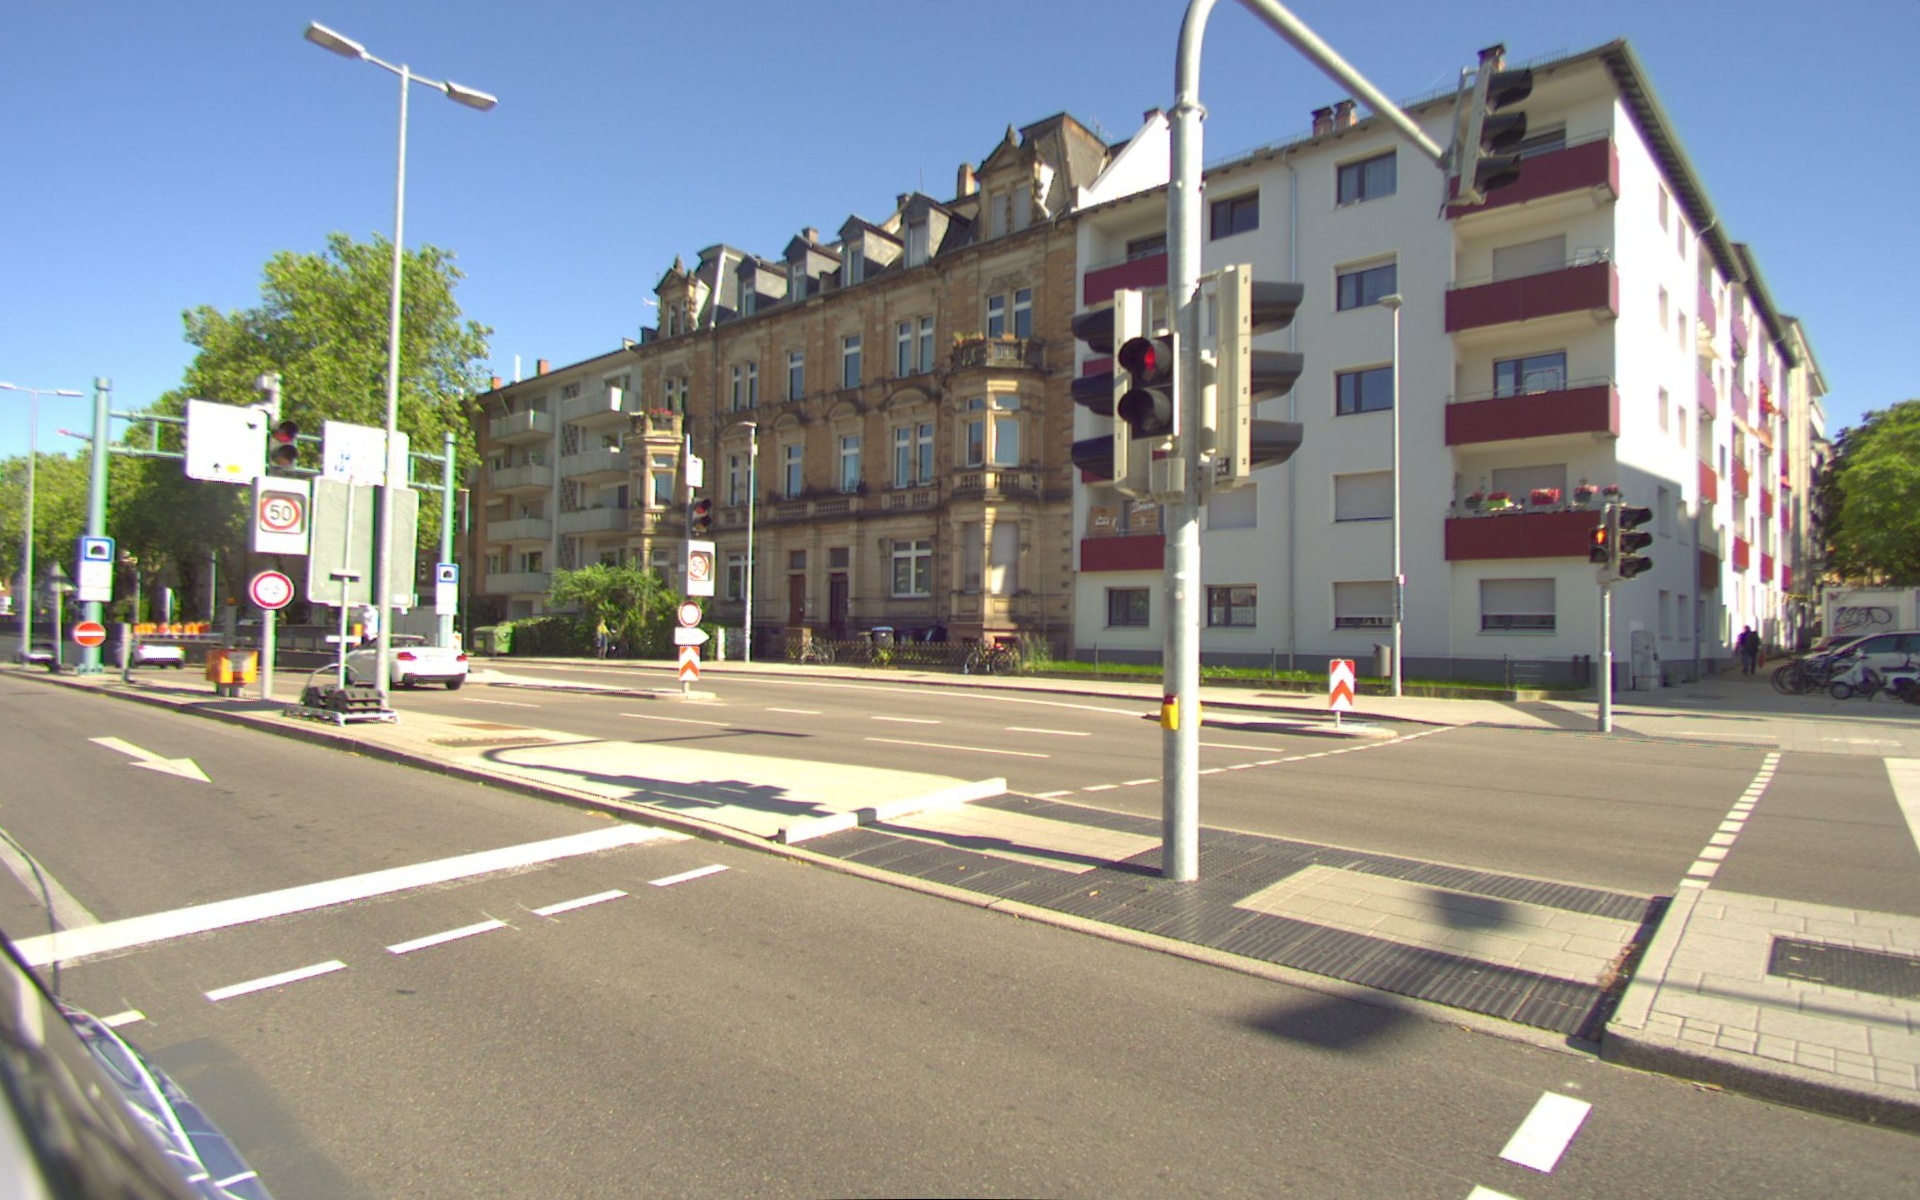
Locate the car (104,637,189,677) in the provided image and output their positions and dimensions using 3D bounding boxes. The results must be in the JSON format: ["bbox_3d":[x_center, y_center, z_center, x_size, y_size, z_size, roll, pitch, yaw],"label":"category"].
[{"bbox_3d":[-35.000,2.472,43.491,4.386,1.464,1.974,-5,-2,39],"label":"car"}]

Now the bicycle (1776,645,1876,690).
[{"bbox_3d":[20.352,1.573,23.818,0.567,0.976,1.737,2,-2,-45],"label":"bicycle"}]

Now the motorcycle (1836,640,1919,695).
[{"bbox_3d":[20.307,1.449,22.018,0.604,1.150,1.786,2,-2,-41],"label":"motorcycle"}]

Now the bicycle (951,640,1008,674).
[{"bbox_3d":[0.557,1.655,29.601,1.939,0.965,0.301,-1,-3,41],"label":"bicycle"}]

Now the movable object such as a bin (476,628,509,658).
[{"bbox_3d":[-22.202,2.041,48.074,1.473,1.371,0.883,-3,-6,42],"label":"movable object such as a bin"}]

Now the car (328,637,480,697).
[{"bbox_3d":[-14.076,1.626,25.528,4.312,1.356,1.911,-1,-2,40],"label":"car"}]

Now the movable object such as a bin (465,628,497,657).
[{"bbox_3d":[-23.219,2.086,49.026,1.313,1.373,0.884,-3,-5,39],"label":"movable object such as a bin"}]

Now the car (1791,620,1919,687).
[{"bbox_3d":[25.541,1.420,27.412,1.970,1.744,4.483,2,-2,-43],"label":"car"}]

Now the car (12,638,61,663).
[{"bbox_3d":[-57.681,3.150,63.192,4.307,1.452,1.590,-2,-6,40],"label":"car"}]

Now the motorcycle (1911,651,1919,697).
[{"bbox_3d":[20.495,1.519,20.431,0.497,0.943,1.844,2,-2,-42],"label":"motorcycle"}]

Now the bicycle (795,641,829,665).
[{"bbox_3d":[-5.047,1.791,34.431,1.413,0.777,0.296,-2,-3,41],"label":"bicycle"}]

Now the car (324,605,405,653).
[{"bbox_3d":[-32.923,1.663,55.920,5.284,2.465,2.221,-3,-6,41],"label":"car"}]

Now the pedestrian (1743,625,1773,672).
[{"bbox_3d":[25.919,1.560,32.882,0.695,1.508,0.593,-1,-2,44],"label":"pedestrian"}]

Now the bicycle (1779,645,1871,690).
[{"bbox_3d":[21.552,1.667,25.230,0.567,1.066,1.691,2,-2,-45],"label":"bicycle"}]

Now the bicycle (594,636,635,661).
[{"bbox_3d":[-14.413,2.031,42.209,2.247,1.013,0.462,-2,-2,39],"label":"bicycle"}]

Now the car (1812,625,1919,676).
[{"bbox_3d":[29.139,1.536,31.003,4.575,1.541,1.740,-1,-2,43],"label":"car"}]

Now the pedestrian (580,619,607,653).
[{"bbox_3d":[-15.345,1.517,42.357,1.089,1.388,0.561,-2,-3,39],"label":"pedestrian"}]
